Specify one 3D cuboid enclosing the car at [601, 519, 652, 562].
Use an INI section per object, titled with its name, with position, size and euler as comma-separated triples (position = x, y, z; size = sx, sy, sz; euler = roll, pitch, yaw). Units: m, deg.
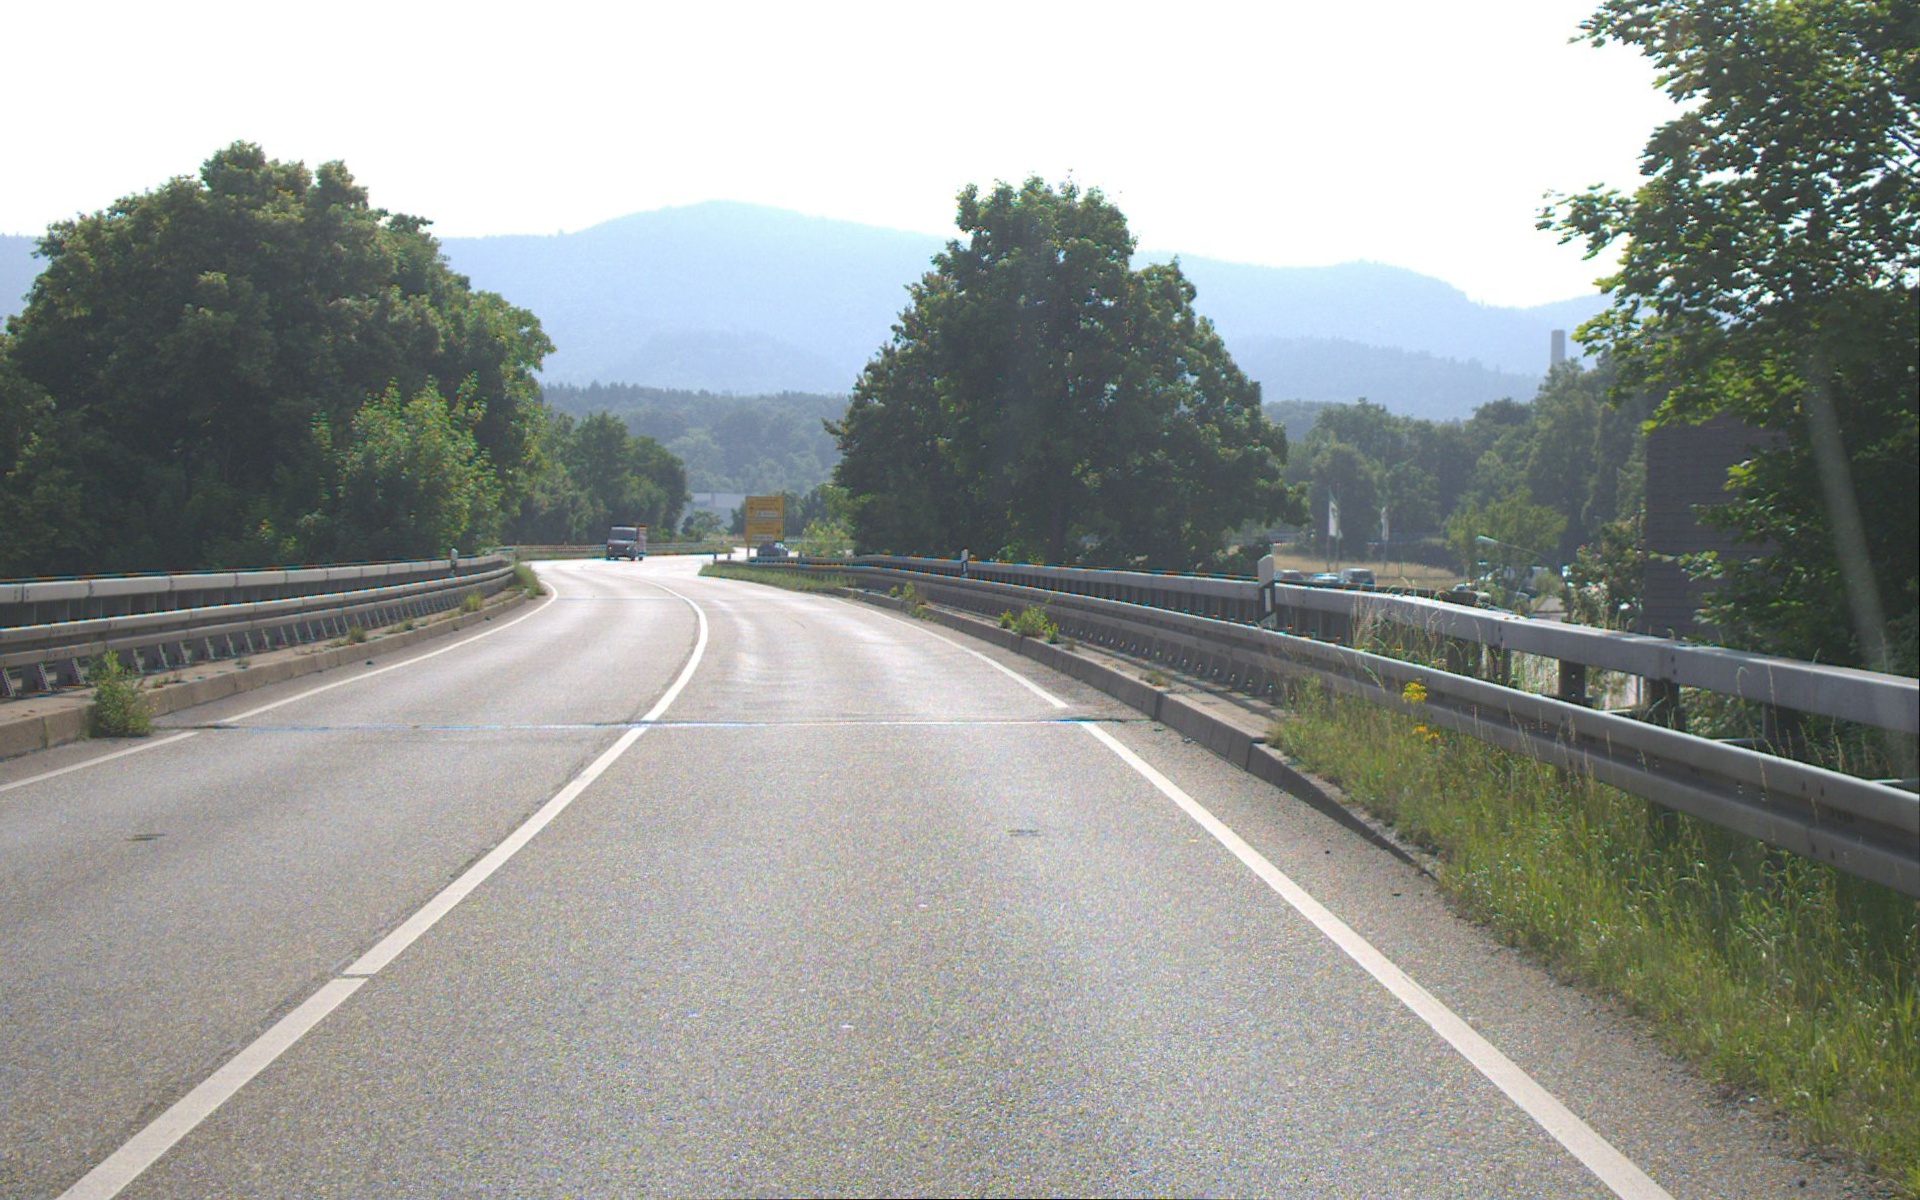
[car]
position = -23.329, -4.190, 239.932
size = 3.171, 2.630, 8.402
euler = 5, 1, -7
